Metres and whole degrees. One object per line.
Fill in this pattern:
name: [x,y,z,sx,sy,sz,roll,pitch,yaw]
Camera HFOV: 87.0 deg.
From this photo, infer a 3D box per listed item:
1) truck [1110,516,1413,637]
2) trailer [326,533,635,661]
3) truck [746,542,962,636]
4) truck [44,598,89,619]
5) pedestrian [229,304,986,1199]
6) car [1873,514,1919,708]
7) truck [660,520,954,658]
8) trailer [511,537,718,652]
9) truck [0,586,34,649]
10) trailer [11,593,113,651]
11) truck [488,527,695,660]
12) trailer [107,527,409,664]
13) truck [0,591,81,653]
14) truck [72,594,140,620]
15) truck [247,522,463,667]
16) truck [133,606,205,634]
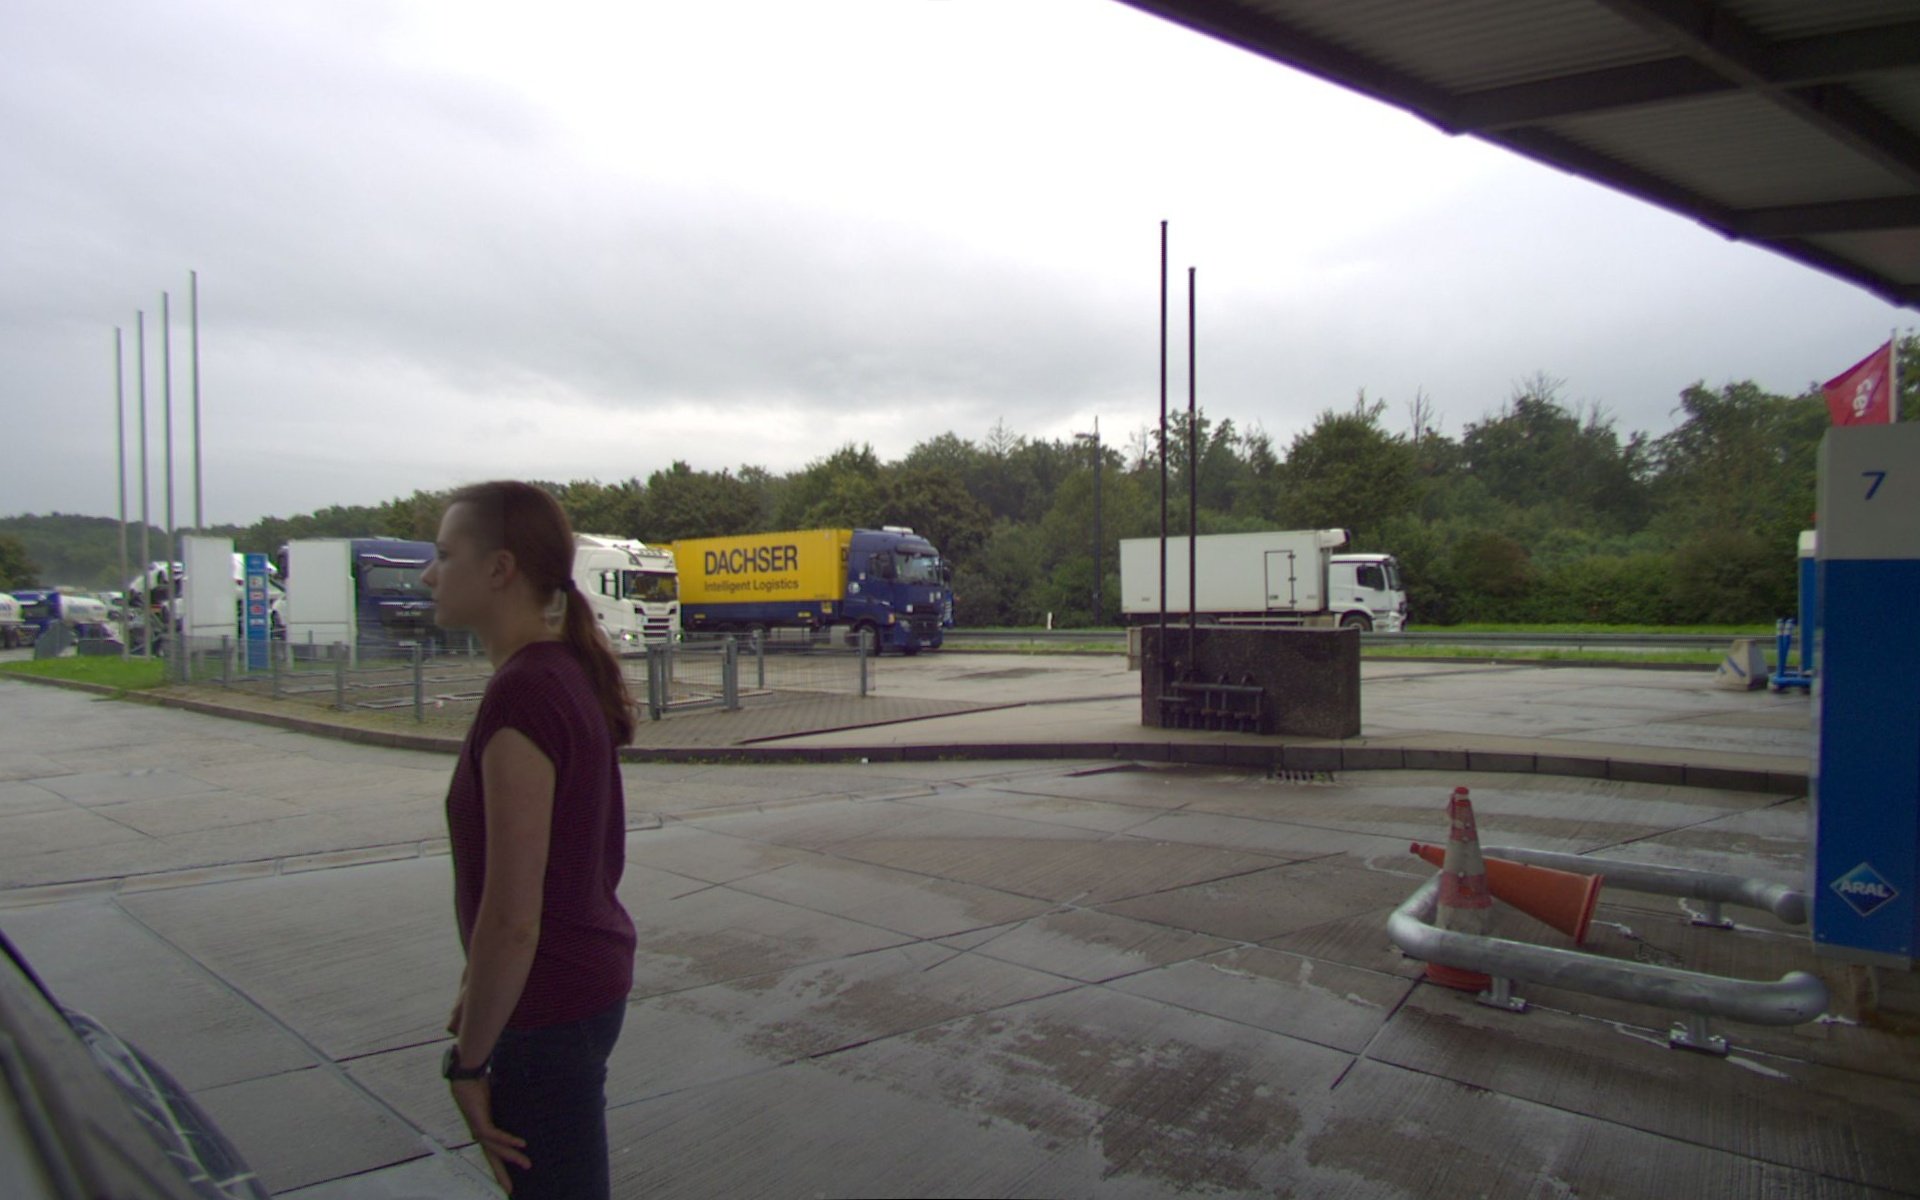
truck: [11.032,-0.737,37.715,10.433,4.063,2.961,-1,0,30]
trailer: [-17.845,-0.043,36.940,13.754,4.063,2.960,-1,0,30]
truck: [-5.137,-0.433,47.681,10.433,4.063,2.961,-1,0,30]
truck: [-152.398,1.477,172.542,11.949,3.591,3.213,-1,0,36]
pedestrian: [-0.530,0.590,1.558,0.839,1.747,0.786,-1,-1,40]
car: [14.864,0.112,12.354,5.272,2.482,2.298,-1,-2,37]
truck: [-5.387,-0.271,33.946,10.608,4.063,2.743,-1,0,33]
trailer: [-13.543,-0.167,39.280,8.833,4.063,2.743,-1,0,33]
truck: [-55.554,1.018,55.009,3.196,3.591,12.013,-1,0,-19]
trailer: [-62.265,1.433,70.475,2.854,3.666,10.605,-1,0,-28]
truck: [-12.363,-0.180,33.835,6.718,4.063,2.959,-1,0,31]
trailer: [-25.414,-0.057,35.916,16.563,4.063,2.957,-1,0,34]
truck: [-59.420,1.370,64.988,3.000,3.795,6.486,-1,0,-27]
truck: [-125.559,1.089,148.587,16.515,3.591,3.215,-1,0,34]
truck: [-18.990,-0.114,31.613,7.244,4.063,2.957,-1,0,34]
truck: [-105.900,2.708,135.396,14.626,3.591,3.215,-1,-1,34]
